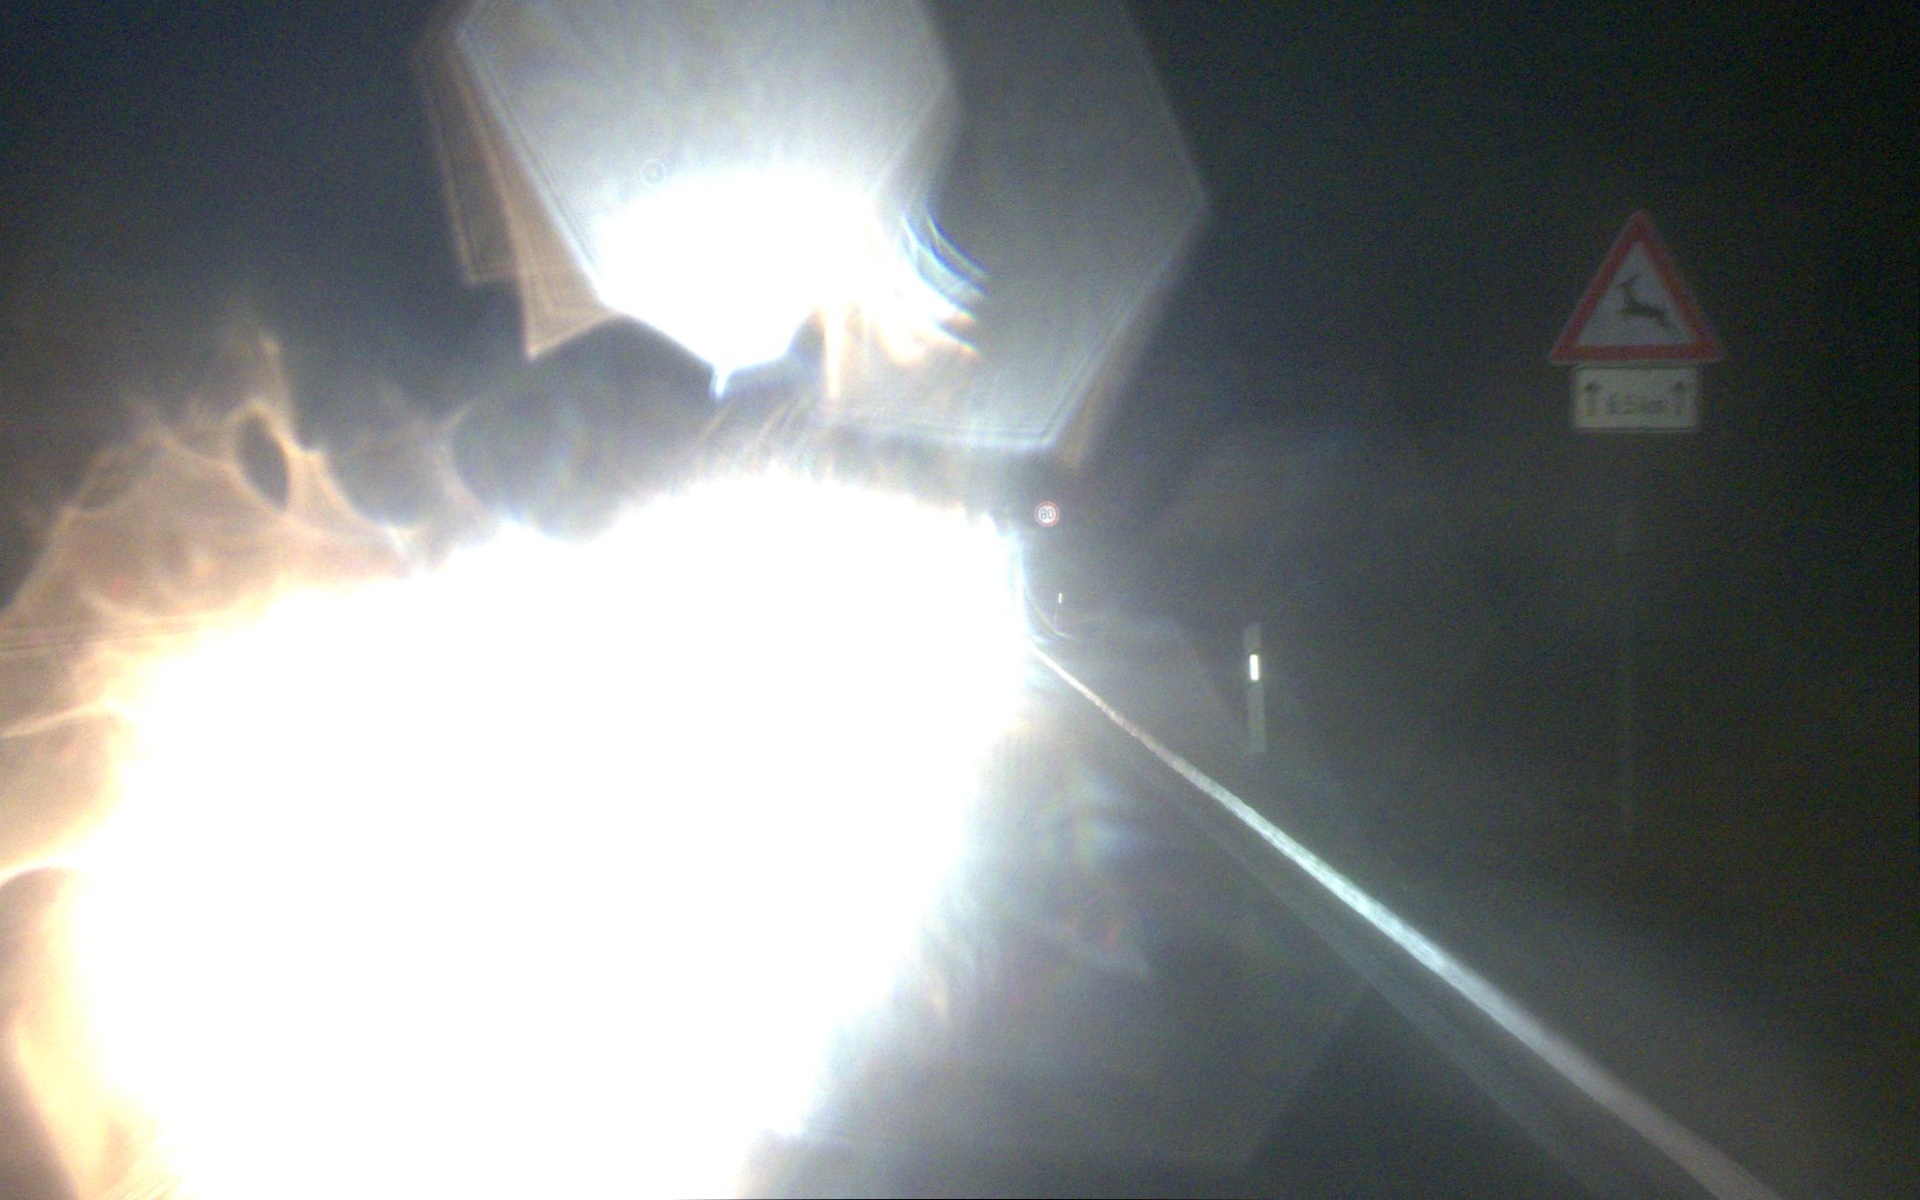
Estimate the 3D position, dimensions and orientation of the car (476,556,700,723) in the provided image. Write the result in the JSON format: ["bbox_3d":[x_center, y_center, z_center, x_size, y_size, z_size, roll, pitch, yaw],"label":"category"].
[{"bbox_3d":[-3.806,0.365,35.757,1.888,1.581,4.000,-1,1,0],"label":"car"}]

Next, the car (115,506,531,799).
[{"bbox_3d":[-3.918,0.257,21.813,1.888,1.665,4.000,-1,1,0],"label":"car"}]

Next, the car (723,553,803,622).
[{"bbox_3d":[-4.448,-0.306,78.150,1.700,1.462,4.042,-1,1,-2],"label":"car"}]
